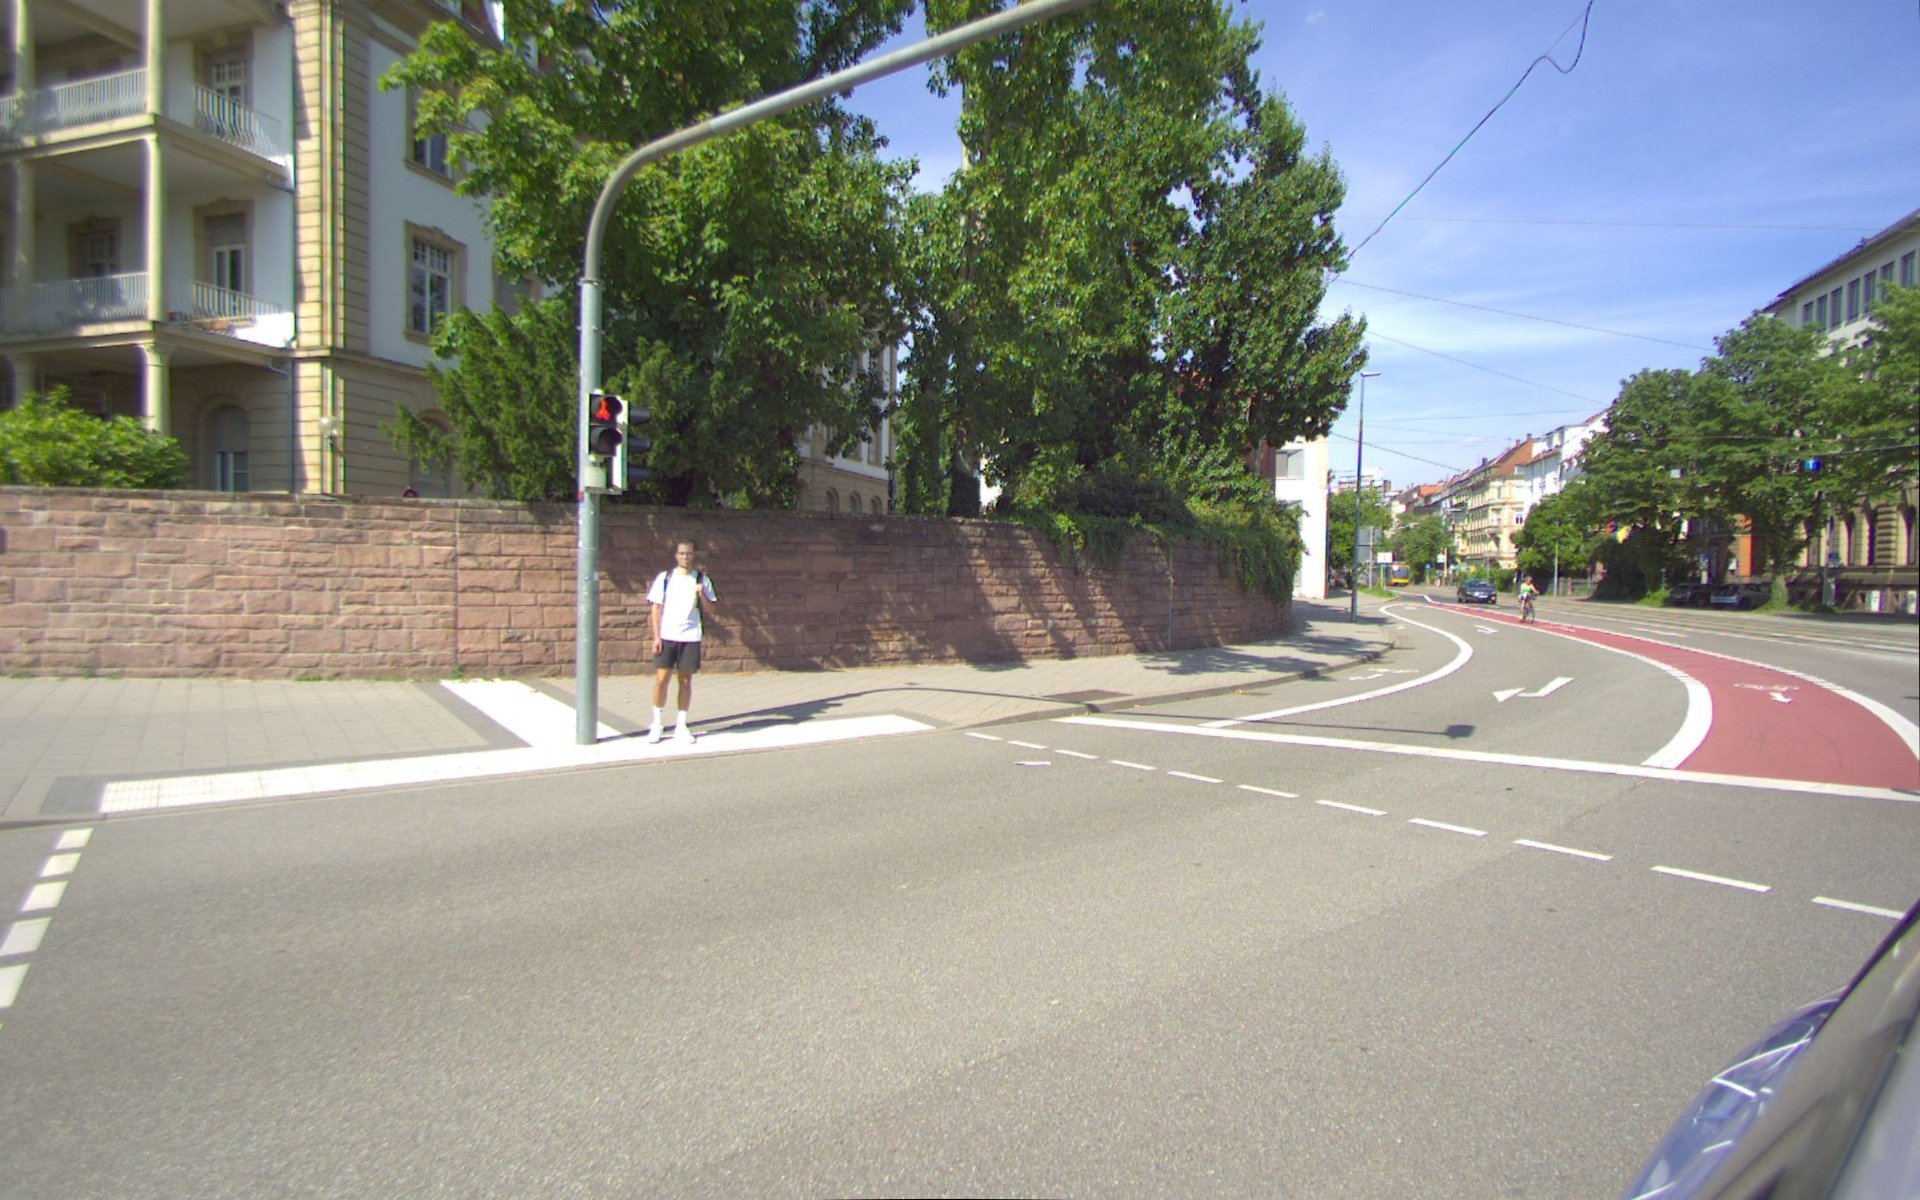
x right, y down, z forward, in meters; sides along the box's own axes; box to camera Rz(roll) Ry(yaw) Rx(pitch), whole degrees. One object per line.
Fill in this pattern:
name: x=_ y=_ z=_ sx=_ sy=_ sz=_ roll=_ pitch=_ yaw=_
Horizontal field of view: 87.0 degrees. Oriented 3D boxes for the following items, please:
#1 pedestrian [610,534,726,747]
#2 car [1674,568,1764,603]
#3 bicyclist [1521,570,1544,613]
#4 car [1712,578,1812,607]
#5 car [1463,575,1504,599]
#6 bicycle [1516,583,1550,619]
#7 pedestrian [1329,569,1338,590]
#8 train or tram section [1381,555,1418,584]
pedestrian: x=-2.755 y=0.350 z=9.572 sx=0.649 sy=1.897 sz=0.787 roll=4 pitch=3 yaw=34
car: x=47.240 y=-0.907 z=63.084 sx=3.945 sy=2.038 sz=1.990 roll=2 pitch=2 yaw=17
bicyclist: x=21.159 y=-0.316 z=37.438 sx=0.581 sy=1.567 sz=0.925 roll=-1 pitch=0 yaw=20
car: x=45.714 y=-0.436 z=57.813 sx=3.945 sy=1.482 sz=1.990 roll=2 pitch=2 yaw=17
car: x=32.229 y=-0.812 z=62.356 sx=1.781 sy=1.393 sz=4.247 roll=1 pitch=2 yaw=21
bicycle: x=21.179 y=0.017 z=37.450 sx=0.677 sy=1.237 sz=2.173 roll=2 pitch=2 yaw=19
pedestrian: x=28.964 y=-1.617 z=78.404 sx=0.542 sy=1.587 sz=0.927 roll=1 pitch=2 yaw=17
train or tram section: x=63.009 y=-4.333 z=145.321 sx=3.173 sy=3.908 sz=14.510 roll=2 pitch=2 yaw=17
